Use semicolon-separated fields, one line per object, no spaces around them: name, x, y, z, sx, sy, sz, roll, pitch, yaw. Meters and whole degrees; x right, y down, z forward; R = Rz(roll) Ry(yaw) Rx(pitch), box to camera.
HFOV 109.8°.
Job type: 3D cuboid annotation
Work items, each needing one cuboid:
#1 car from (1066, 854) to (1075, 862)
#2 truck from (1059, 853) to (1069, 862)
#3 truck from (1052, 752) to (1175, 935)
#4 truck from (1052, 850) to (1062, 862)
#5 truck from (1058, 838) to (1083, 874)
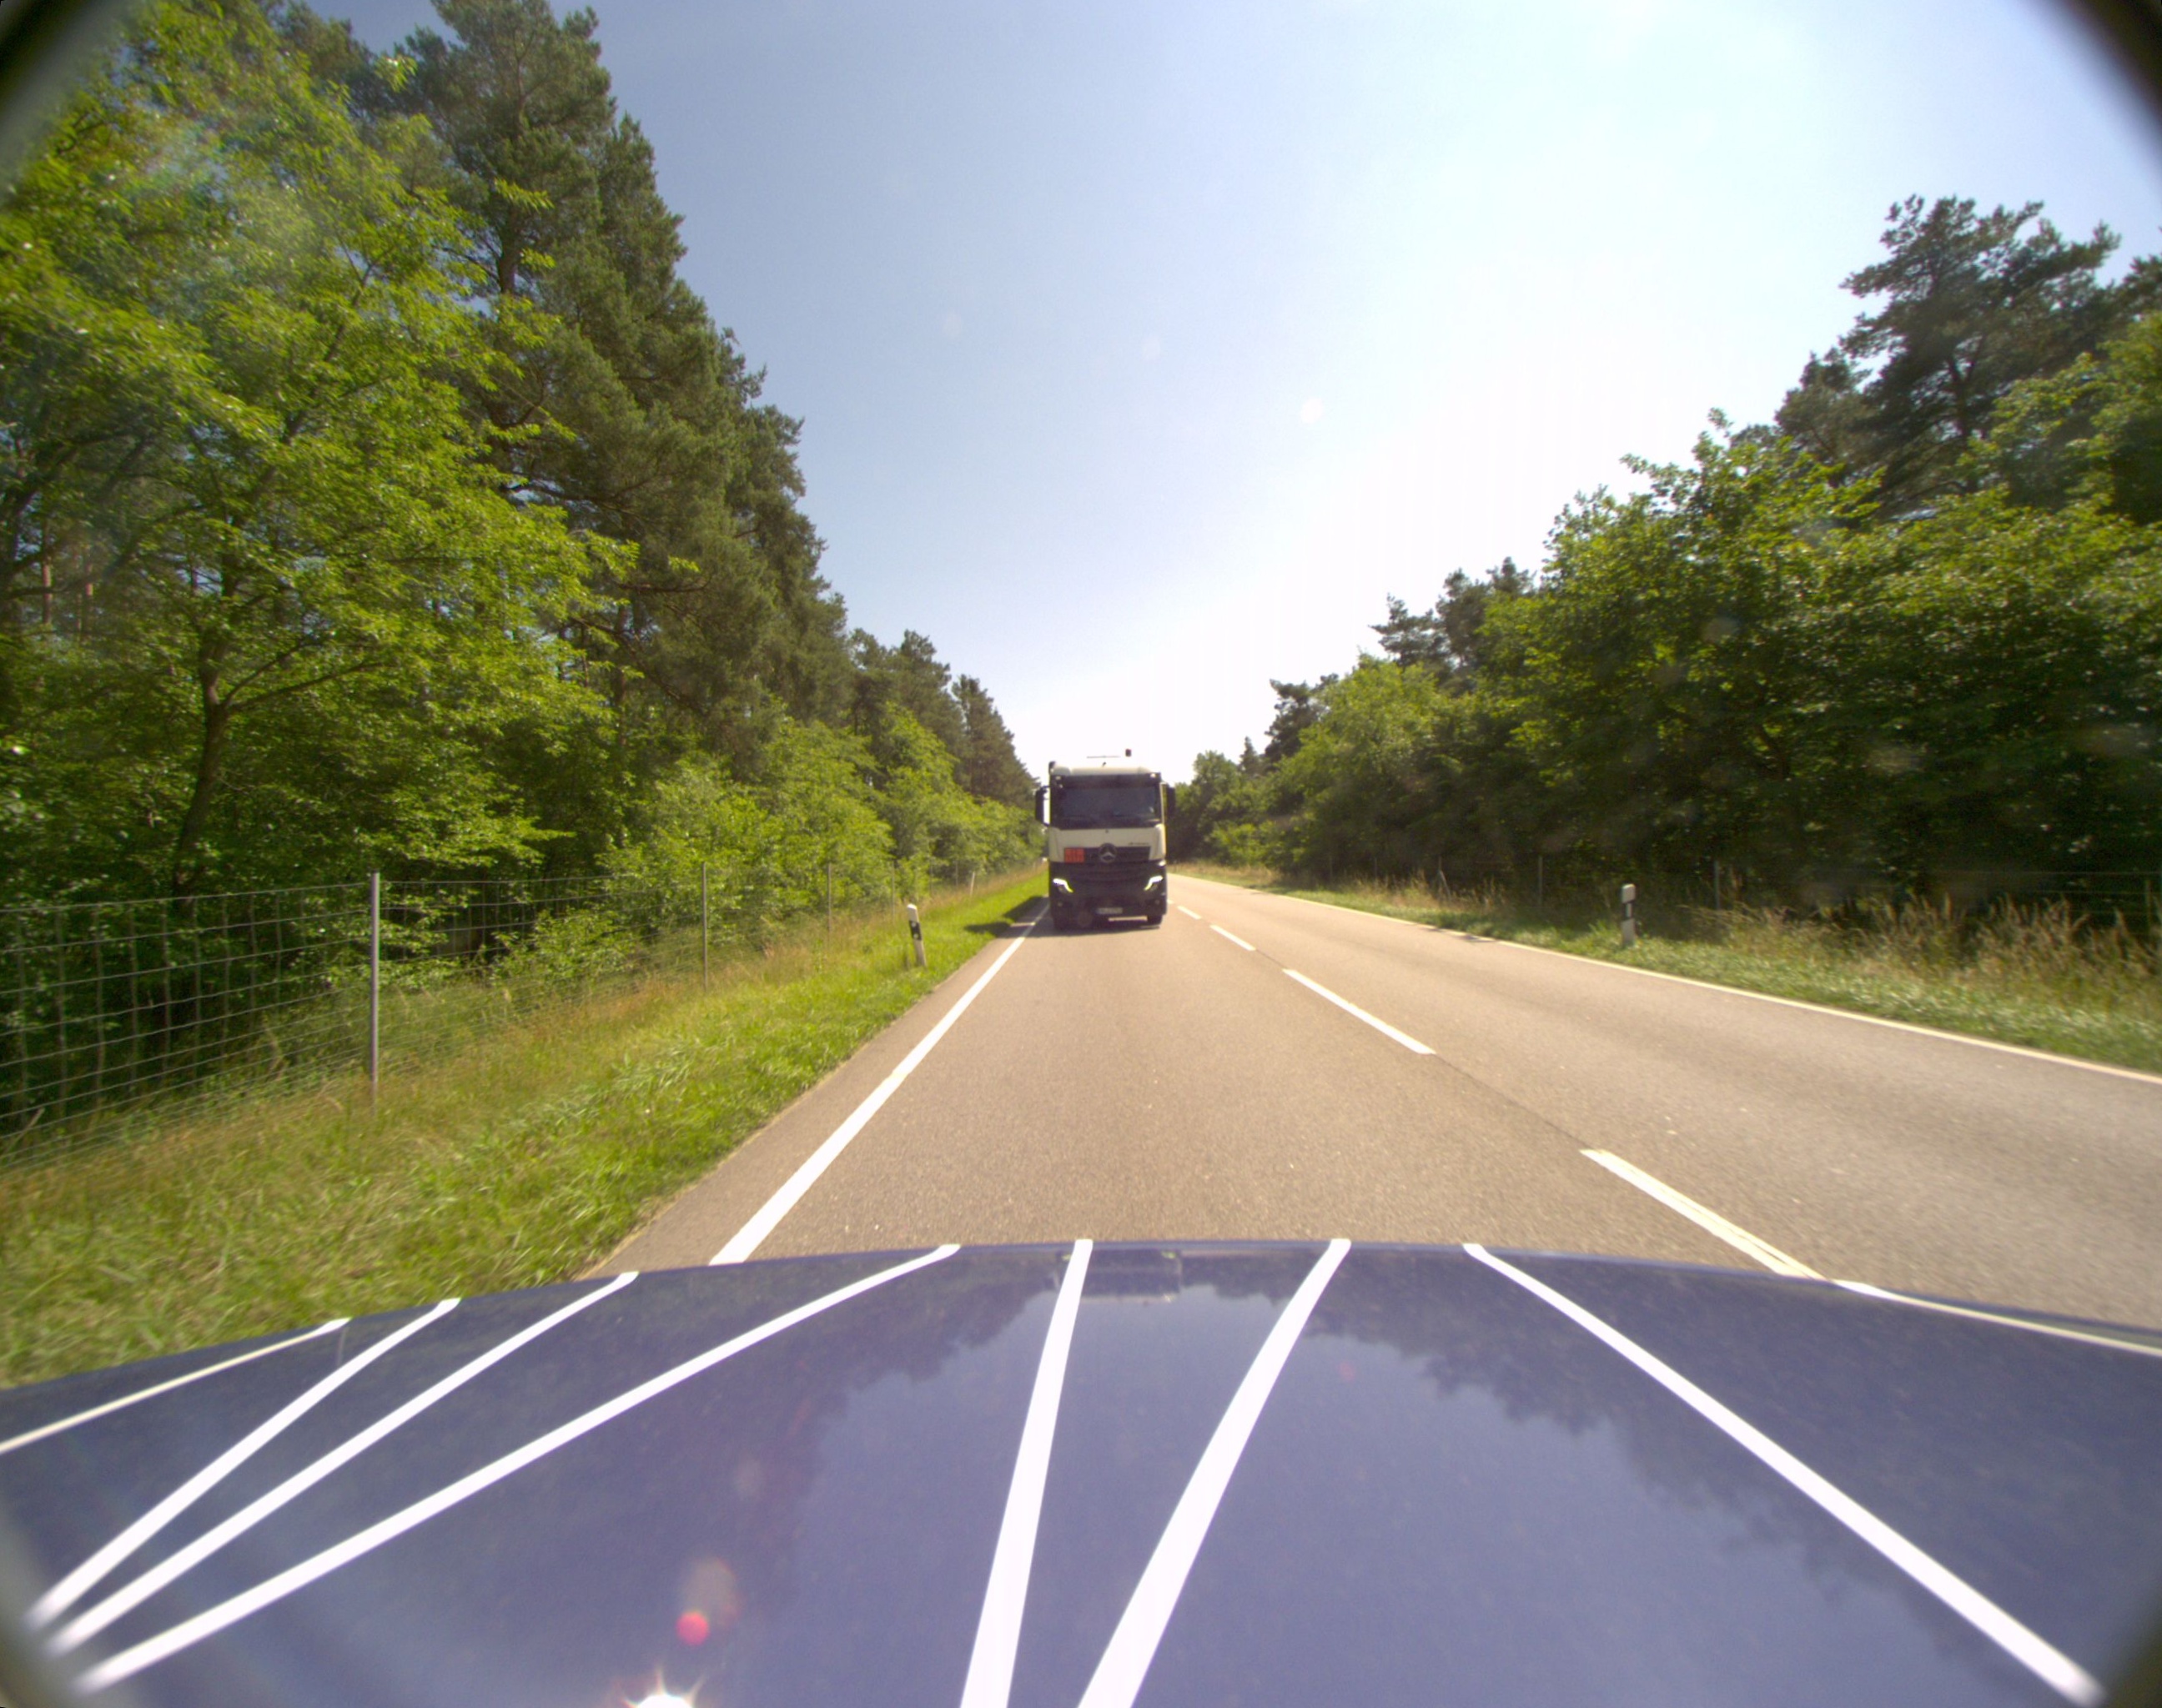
car;-2.042;0.799;149.598;1.885;1.462;3.999;-1;0;-1
truck;-4.581;0.873;202.339;2.494;2.442;6.103;-1;0;0
truck;0.680;-0.198;18.588;2.435;3.672;6.457;-1;0;0
truck;-7.550;0.719;238.755;2.495;3.619;6.100;-1;0;-7
truck;-1.085;0.215;81.129;2.494;3.619;6.103;-2;0;0
